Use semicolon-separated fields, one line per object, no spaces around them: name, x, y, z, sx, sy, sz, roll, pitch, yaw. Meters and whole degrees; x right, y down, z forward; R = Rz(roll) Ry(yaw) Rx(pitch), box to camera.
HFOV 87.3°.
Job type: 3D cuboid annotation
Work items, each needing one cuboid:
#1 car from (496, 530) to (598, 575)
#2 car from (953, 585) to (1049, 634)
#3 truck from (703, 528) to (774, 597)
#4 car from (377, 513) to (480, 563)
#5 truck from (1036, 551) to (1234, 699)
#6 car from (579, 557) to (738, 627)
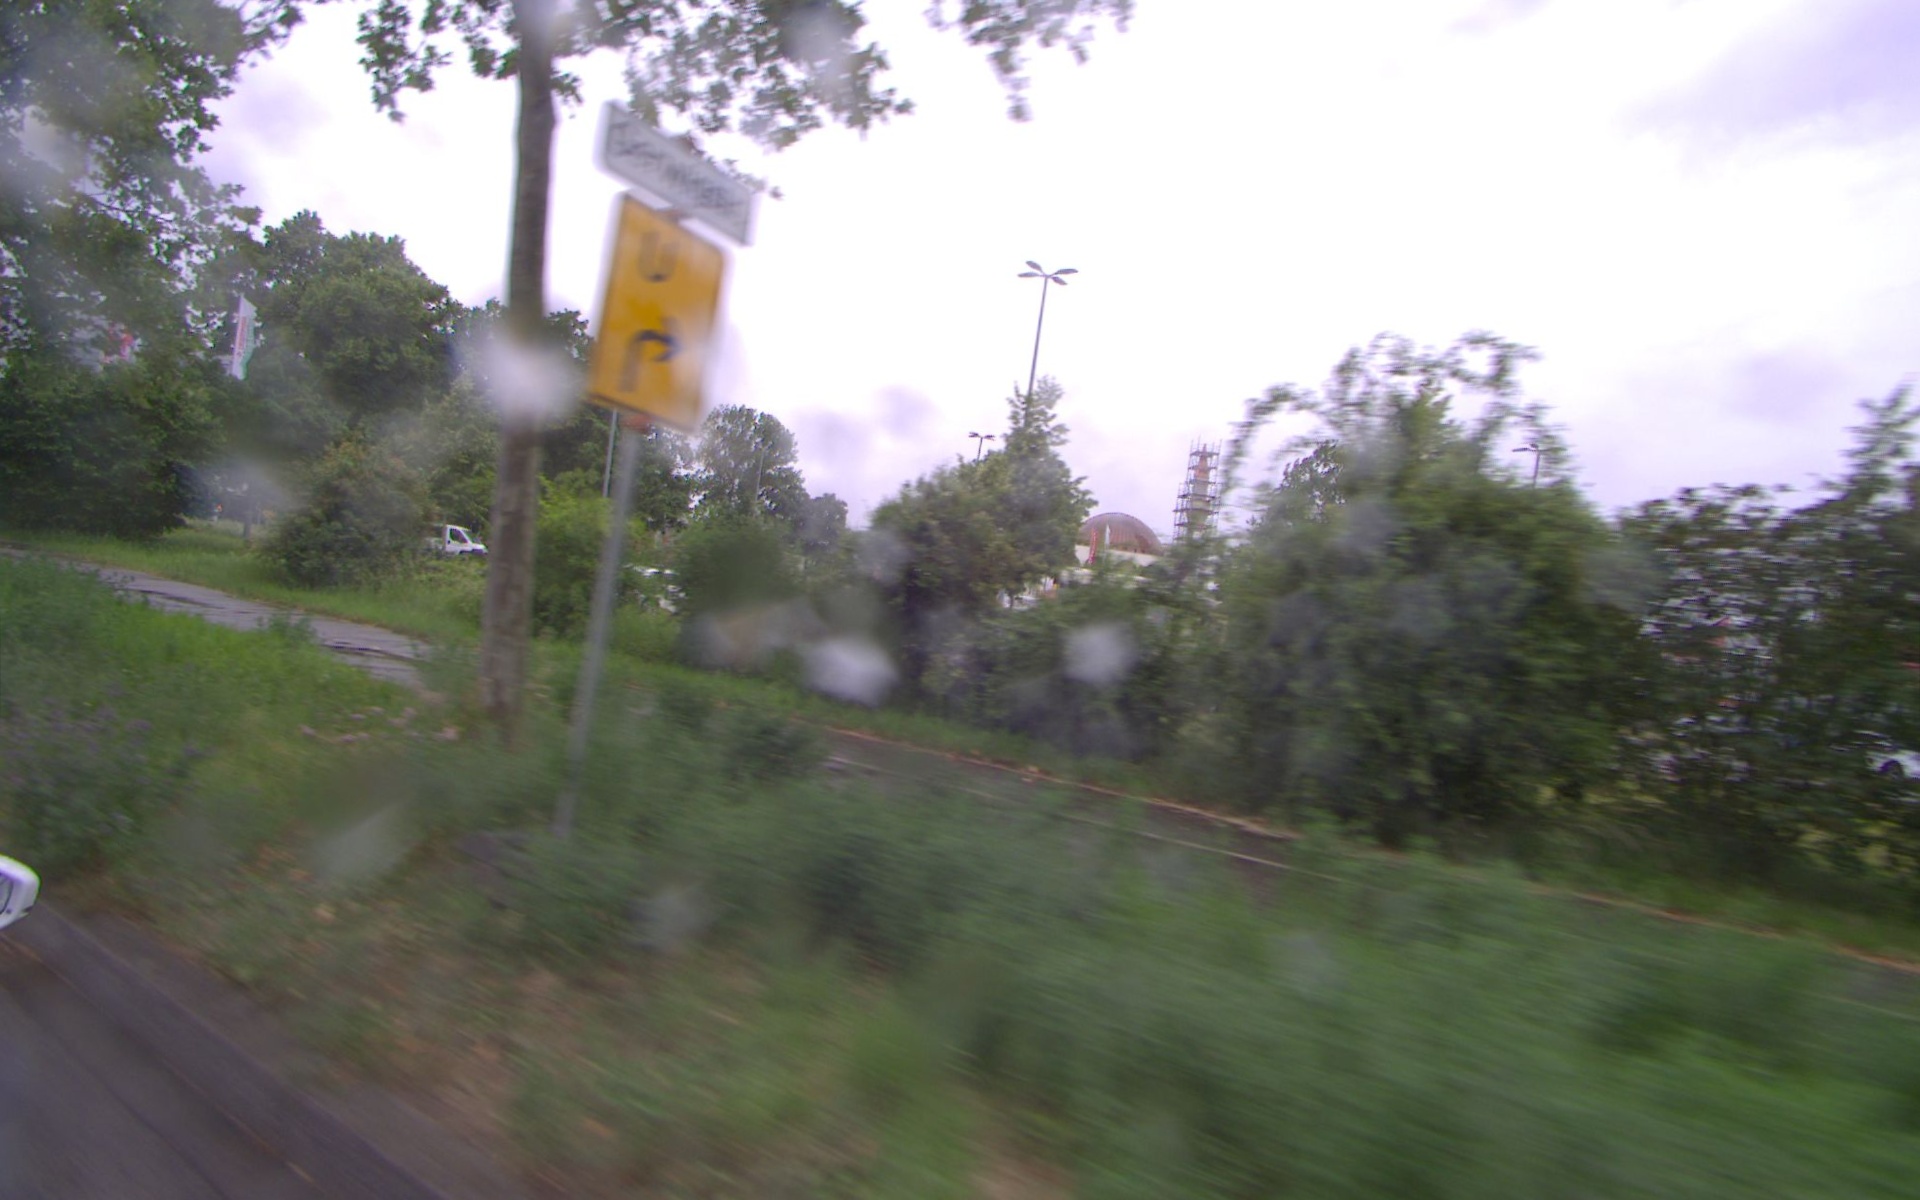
car;-31.838;-3.656;77.764;6.702;2.464;2.327;8;0;-4
car;2.572;0.629;63.568;5.572;2.361;1.999;8;-2;-6
truck;-14.766;-2.375;67.776;2.950;3.856;8.285;7;-1;-3
car;-31.169;-3.617;59.164;4.833;2.179;1.803;8;0;-9
truck;3.808;0.695;20.453;2.180;2.330;6.555;7;-2;25
car;-8.259;-0.170;27.915;1.836;1.380;3.999;6;-2;28
